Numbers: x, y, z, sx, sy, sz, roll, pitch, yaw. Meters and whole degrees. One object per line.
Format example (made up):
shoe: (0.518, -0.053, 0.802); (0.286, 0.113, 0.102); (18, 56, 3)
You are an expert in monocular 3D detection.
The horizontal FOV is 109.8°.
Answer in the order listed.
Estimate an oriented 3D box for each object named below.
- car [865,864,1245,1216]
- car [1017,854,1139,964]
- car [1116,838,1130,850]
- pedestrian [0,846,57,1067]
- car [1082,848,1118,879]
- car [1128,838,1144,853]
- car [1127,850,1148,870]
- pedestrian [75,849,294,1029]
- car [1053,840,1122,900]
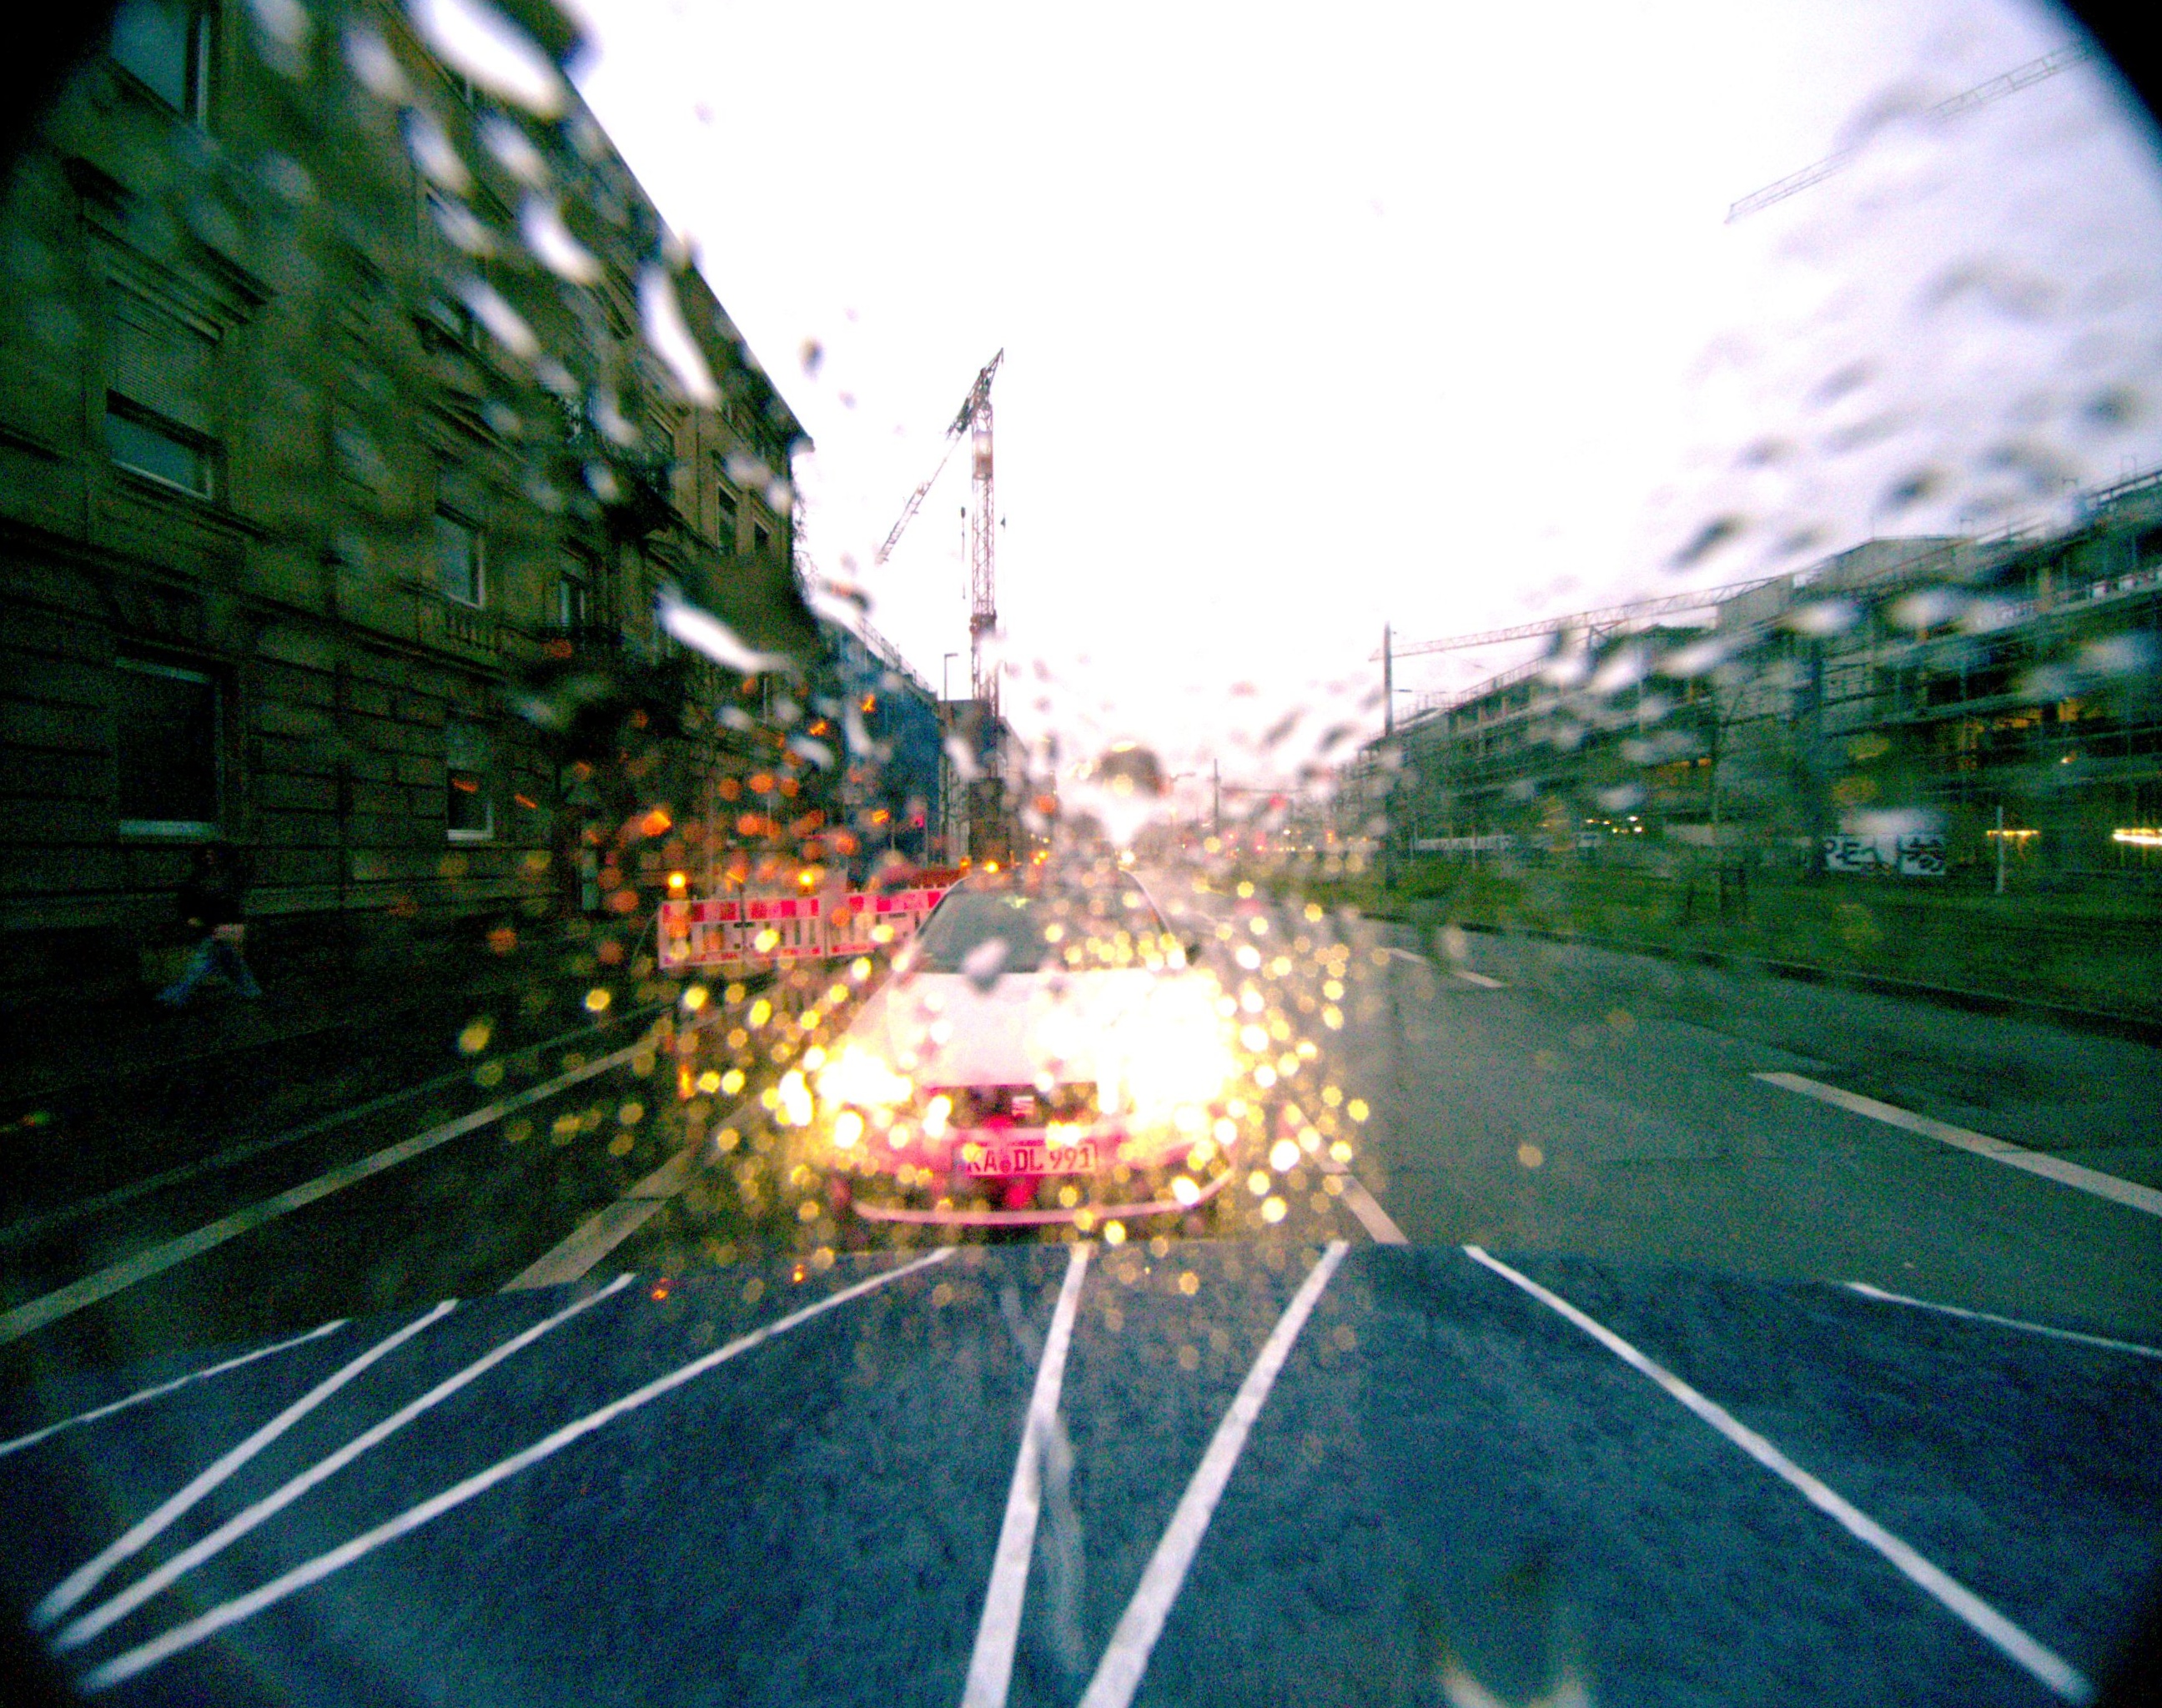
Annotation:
car: (-0.127, 0.931, 5.630); (1.769, 1.504, 3.899); (-3, 1, 0)
car: (-0.056, 0.823, 13.394); (1.769, 1.504, 3.899); (-3, 1, 0)
car: (5.915, -1.384, 107.044); (1.768, 1.614, 3.900); (-3, 1, 4)
pedestrian: (-8.554, 0.771, 5.661); (0.870, 1.663, 0.707); (0, 1, 3)
car: (0.986, 0.488, 41.724); (1.769, 1.504, 3.899); (-3, 1, 0)
car: (6.312, -0.996, 87.352); (1.768, 1.614, 3.900); (-3, 1, 4)
car: (5.152, 0.530, 69.431); (1.768, 1.614, 3.900); (-3, 1, 4)
pedestrian: (-8.155, 0.728, 6.967); (0.870, 1.536, 0.929); (0, 1, 1)
car: (0.168, 0.392, 22.034); (1.769, 1.504, 3.899); (-3, 1, 0)
